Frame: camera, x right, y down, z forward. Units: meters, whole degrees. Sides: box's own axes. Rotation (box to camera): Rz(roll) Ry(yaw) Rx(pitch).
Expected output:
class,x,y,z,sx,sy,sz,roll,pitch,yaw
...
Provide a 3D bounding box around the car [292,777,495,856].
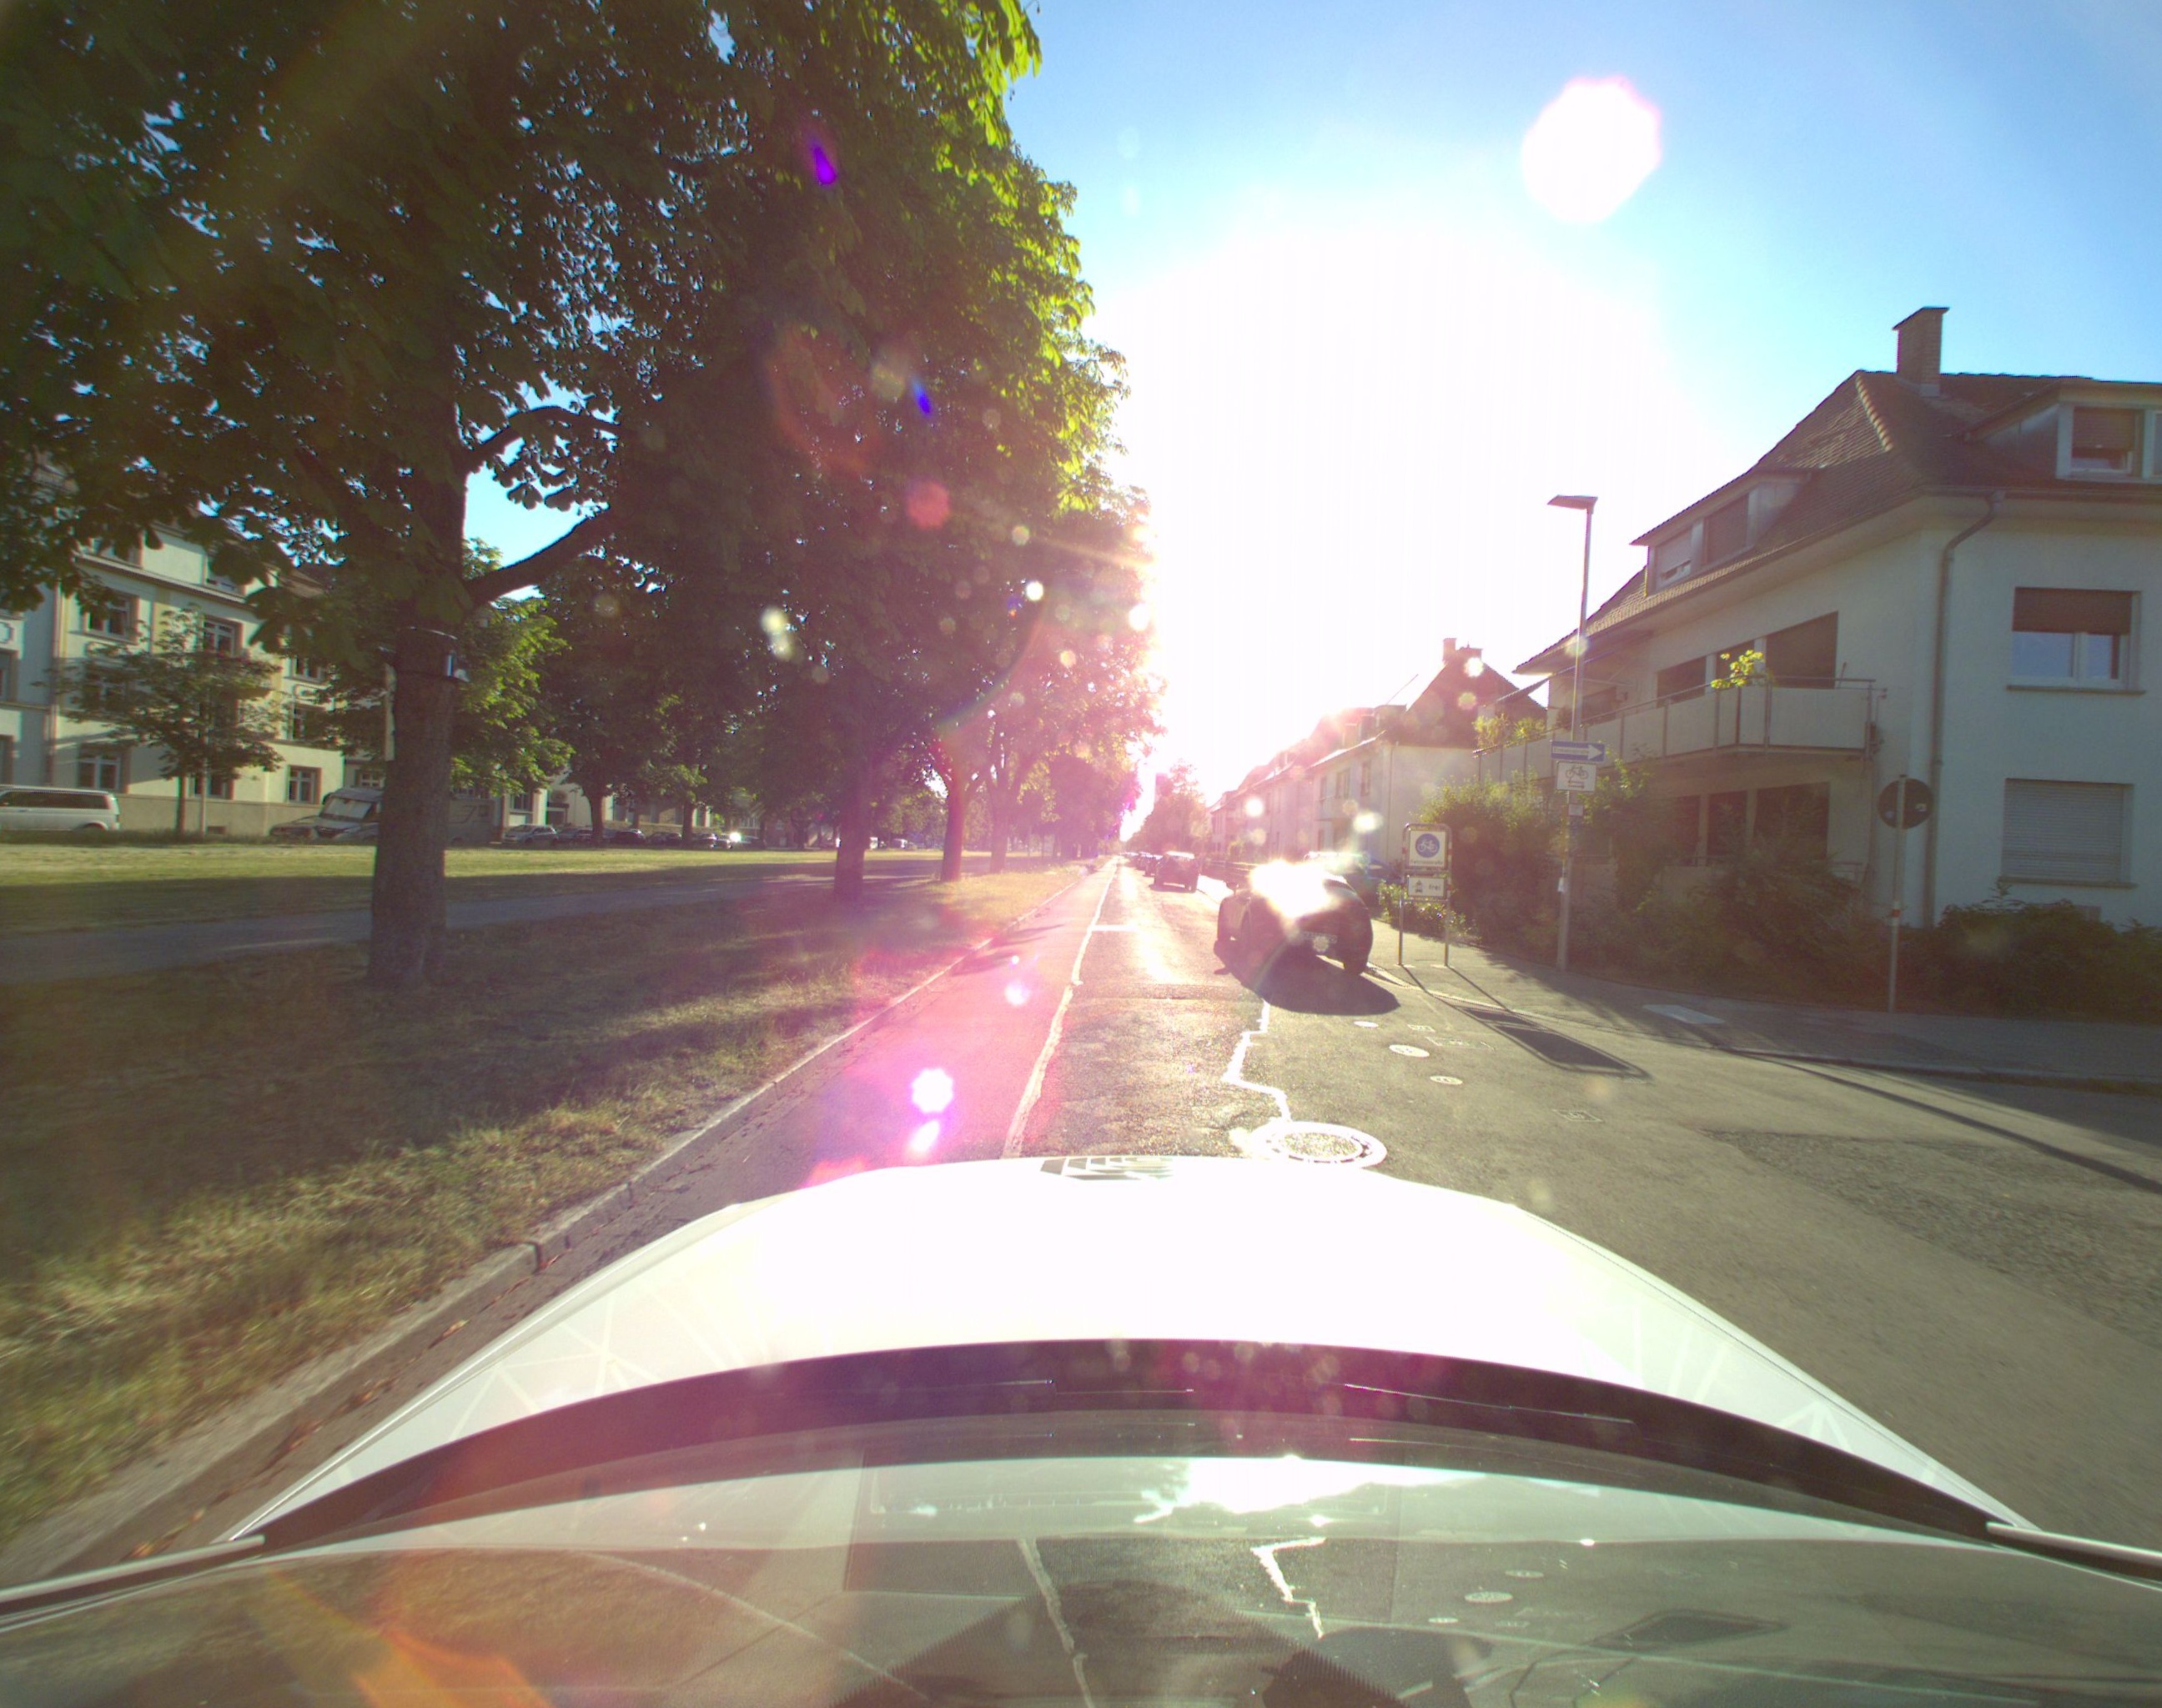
class,x,y,z,sx,sy,sz,roll,pitch,yaw
car,-32.077,-1.608,38.590,2.383,3.130,7.859,6,0,3

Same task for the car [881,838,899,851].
class,x,y,z,sx,sy,sz,roll,pitch,yaw
car,-29.216,-1.373,124.790,1.722,1.689,3.879,5,-2,1

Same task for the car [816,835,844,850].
class,x,y,z,sx,sy,sz,roll,pitch,yaw
car,-33.896,-1.545,110.011,1.985,1.659,4.360,5,-1,4

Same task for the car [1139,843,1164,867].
class,x,y,z,sx,sy,sz,roll,pitch,yaw
car,6.649,0.146,76.914,1.986,2.013,4.001,5,-1,2

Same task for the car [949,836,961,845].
class,x,y,z,sx,sy,sz,roll,pitch,yaw
car,-30.539,-3.159,197.962,1.986,1.913,4.002,5,-1,2

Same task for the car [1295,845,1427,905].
class,x,y,z,sx,sy,sz,roll,pitch,yaw
car,9.633,0.763,28.225,3.976,1.823,1.758,3,-6,-2

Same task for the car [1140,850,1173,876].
class,x,y,z,sx,sy,sz,roll,pitch,yaw
car,5.223,0.654,56.858,1.986,1.653,4.001,3,-1,2

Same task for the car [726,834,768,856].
class,x,y,z,sx,sy,sz,roll,pitch,yaw
car,-30.430,-0.819,74.321,1.804,1.781,4.125,5,-1,3

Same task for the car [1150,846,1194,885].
class,x,y,z,sx,sy,sz,roll,pitch,yaw
car,4.818,0.601,43.512,1.876,1.860,4.001,5,-1,1

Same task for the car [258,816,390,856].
class,x,y,z,sx,sy,sz,roll,pitch,yaw
car,-37.679,-0.864,40.713,1.985,1.659,4.575,5,-1,4

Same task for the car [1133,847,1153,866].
class,x,y,z,sx,sy,sz,roll,pitch,yaw
car,7.353,0.287,96.800,1.986,2.013,4.001,5,-1,2

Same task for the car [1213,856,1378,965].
class,x,y,z,sx,sy,sz,roll,pitch,yaw
car,3.309,0.806,13.386,1.703,1.359,4.205,5,-1,3

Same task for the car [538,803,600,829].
class,x,y,z,sx,sy,sz,roll,pitch,yaw
car,-41.846,-3.087,66.711,1.985,1.659,4.379,5,-1,4

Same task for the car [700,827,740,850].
class,x,y,z,sx,sy,sz,roll,pitch,yaw
car,-35.980,-1.559,81.370,1.987,2.013,4.000,5,-1,1

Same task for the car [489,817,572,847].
class,x,y,z,sx,sy,sz,roll,pitch,yaw
car,-37.306,-1.424,55.382,1.987,1.689,5.159,5,-1,1

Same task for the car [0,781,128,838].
class,x,y,z,sx,sy,sz,roll,pitch,yaw
car,-38.504,-1.627,29.524,1.986,1.950,4.879,3,0,1

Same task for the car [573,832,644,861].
class,x,y,z,sx,sy,sz,roll,pitch,yaw
car,-31.447,-0.484,54.311,1.872,1.674,4.318,5,-1,3

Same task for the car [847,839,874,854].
class,x,y,z,sx,sy,sz,roll,pitch,yaw
car,-28.441,-0.939,105.088,2.014,1.659,3.987,5,-1,3

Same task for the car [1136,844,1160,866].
class,x,y,z,sx,sy,sz,roll,pitch,yaw
car,6.767,0.139,82.507,1.986,2.013,4.001,5,-1,2

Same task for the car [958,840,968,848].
class,x,y,z,sx,sy,sz,roll,pitch,yaw
car,-30.858,-2.591,213.408,1.872,1.752,3.799,5,-1,2

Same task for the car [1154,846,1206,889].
class,x,y,z,sx,sy,sz,roll,pitch,yaw
car,4.701,0.598,39.054,1.986,1.781,4.002,5,1,2

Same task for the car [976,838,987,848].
class,x,y,z,sx,sy,sz,roll,pitch,yaw
car,-23.371,-2.556,191.359,1.648,1.938,3.568,5,-2,2

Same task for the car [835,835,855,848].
class,x,y,z,sx,sy,sz,roll,pitch,yaw
car,-34.312,-1.823,118.597,1.634,1.643,3.855,5,-1,1

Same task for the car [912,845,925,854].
class,x,y,z,sx,sy,sz,roll,pitch,yaw
car,-32.178,-0.879,161.202,1.722,1.762,3.348,5,-1,2

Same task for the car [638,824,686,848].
class,x,y,z,sx,sy,sz,roll,pitch,yaw
car,-36.233,-1.528,70.541,1.857,1.803,3.918,5,-1,2
